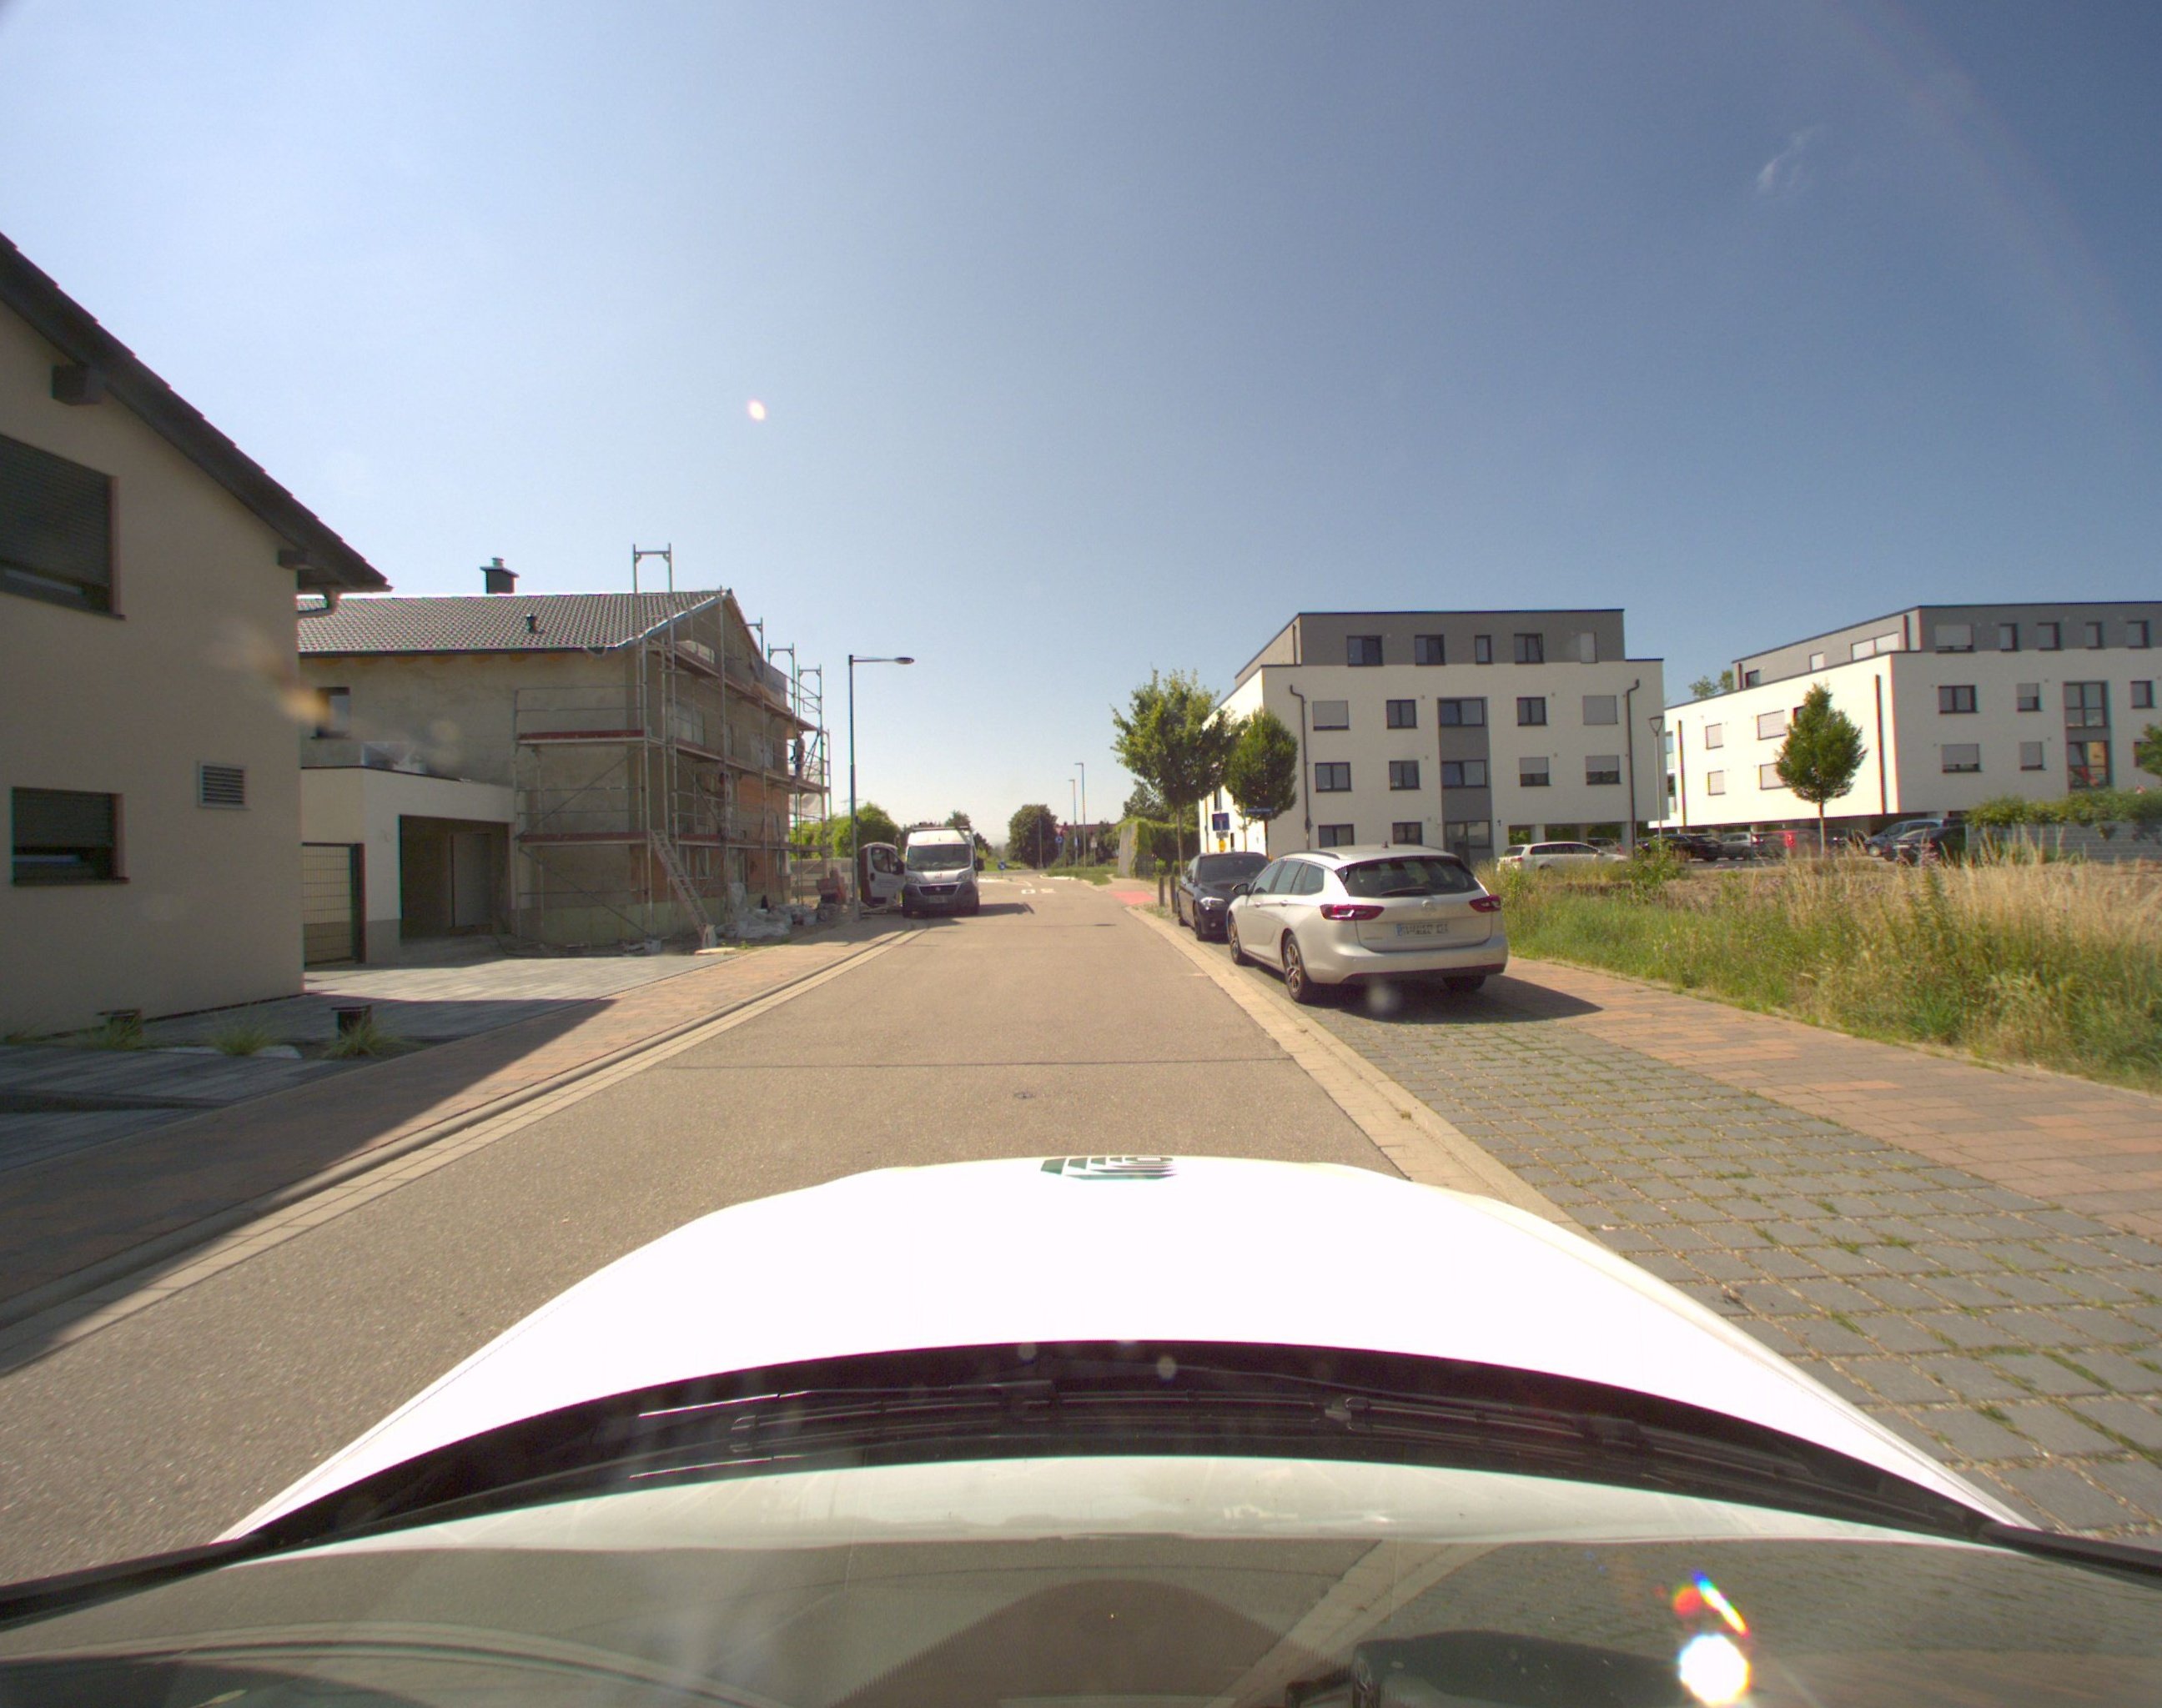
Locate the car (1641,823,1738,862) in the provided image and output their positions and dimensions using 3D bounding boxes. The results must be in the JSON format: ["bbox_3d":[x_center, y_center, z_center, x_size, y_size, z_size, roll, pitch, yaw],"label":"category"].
[{"bbox_3d":[32.008,-0.562,43.031,1.871,1.810,4.169,-2,-1,-1],"label":"car"}]

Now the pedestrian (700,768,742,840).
[{"bbox_3d":[-8.809,-1.200,19.933,0.752,1.680,0.571,0,-3,-43],"label":"pedestrian"}]

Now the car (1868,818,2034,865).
[{"bbox_3d":[31.649,-0.423,29.717,4.148,1.478,1.880,-2,-1,-3],"label":"car"}]

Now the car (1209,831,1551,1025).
[{"bbox_3d":[2.929,0.604,9.463,1.913,1.511,5.293,-3,0,-1],"label":"car"}]

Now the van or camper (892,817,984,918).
[{"bbox_3d":[-4.129,0.417,24.510,2.270,2.553,6.351,-2,-1,-7],"label":"van or camper"}]

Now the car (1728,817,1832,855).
[{"bbox_3d":[37.500,-0.924,43.843,1.871,1.810,4.169,-2,-1,-1],"label":"car"}]

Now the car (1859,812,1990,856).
[{"bbox_3d":[39.706,-0.873,38.488,1.869,1.810,4.173,-2,-1,2],"label":"car"}]

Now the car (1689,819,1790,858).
[{"bbox_3d":[34.901,-0.786,43.294,1.871,1.810,4.169,-2,-1,-1],"label":"car"}]

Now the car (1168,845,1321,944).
[{"bbox_3d":[2.878,0.633,15.531,1.912,1.469,5.141,-3,0,1],"label":"car"}]

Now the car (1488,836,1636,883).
[{"bbox_3d":[16.915,0.193,28.771,4.148,1.436,1.880,-2,-1,-3],"label":"car"}]

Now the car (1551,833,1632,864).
[{"bbox_3d":[27.188,-0.261,43.510,1.871,1.503,3.676,-2,-1,-1],"label":"car"}]

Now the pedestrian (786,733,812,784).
[{"bbox_3d":[-8.997,-3.039,25.966,0.566,1.500,0.740,0,-3,-38],"label":"pedestrian"}]

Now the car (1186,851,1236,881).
[{"bbox_3d":[6.646,0.586,41.998,1.674,1.469,4.111,-1,0,-3],"label":"car"}]
